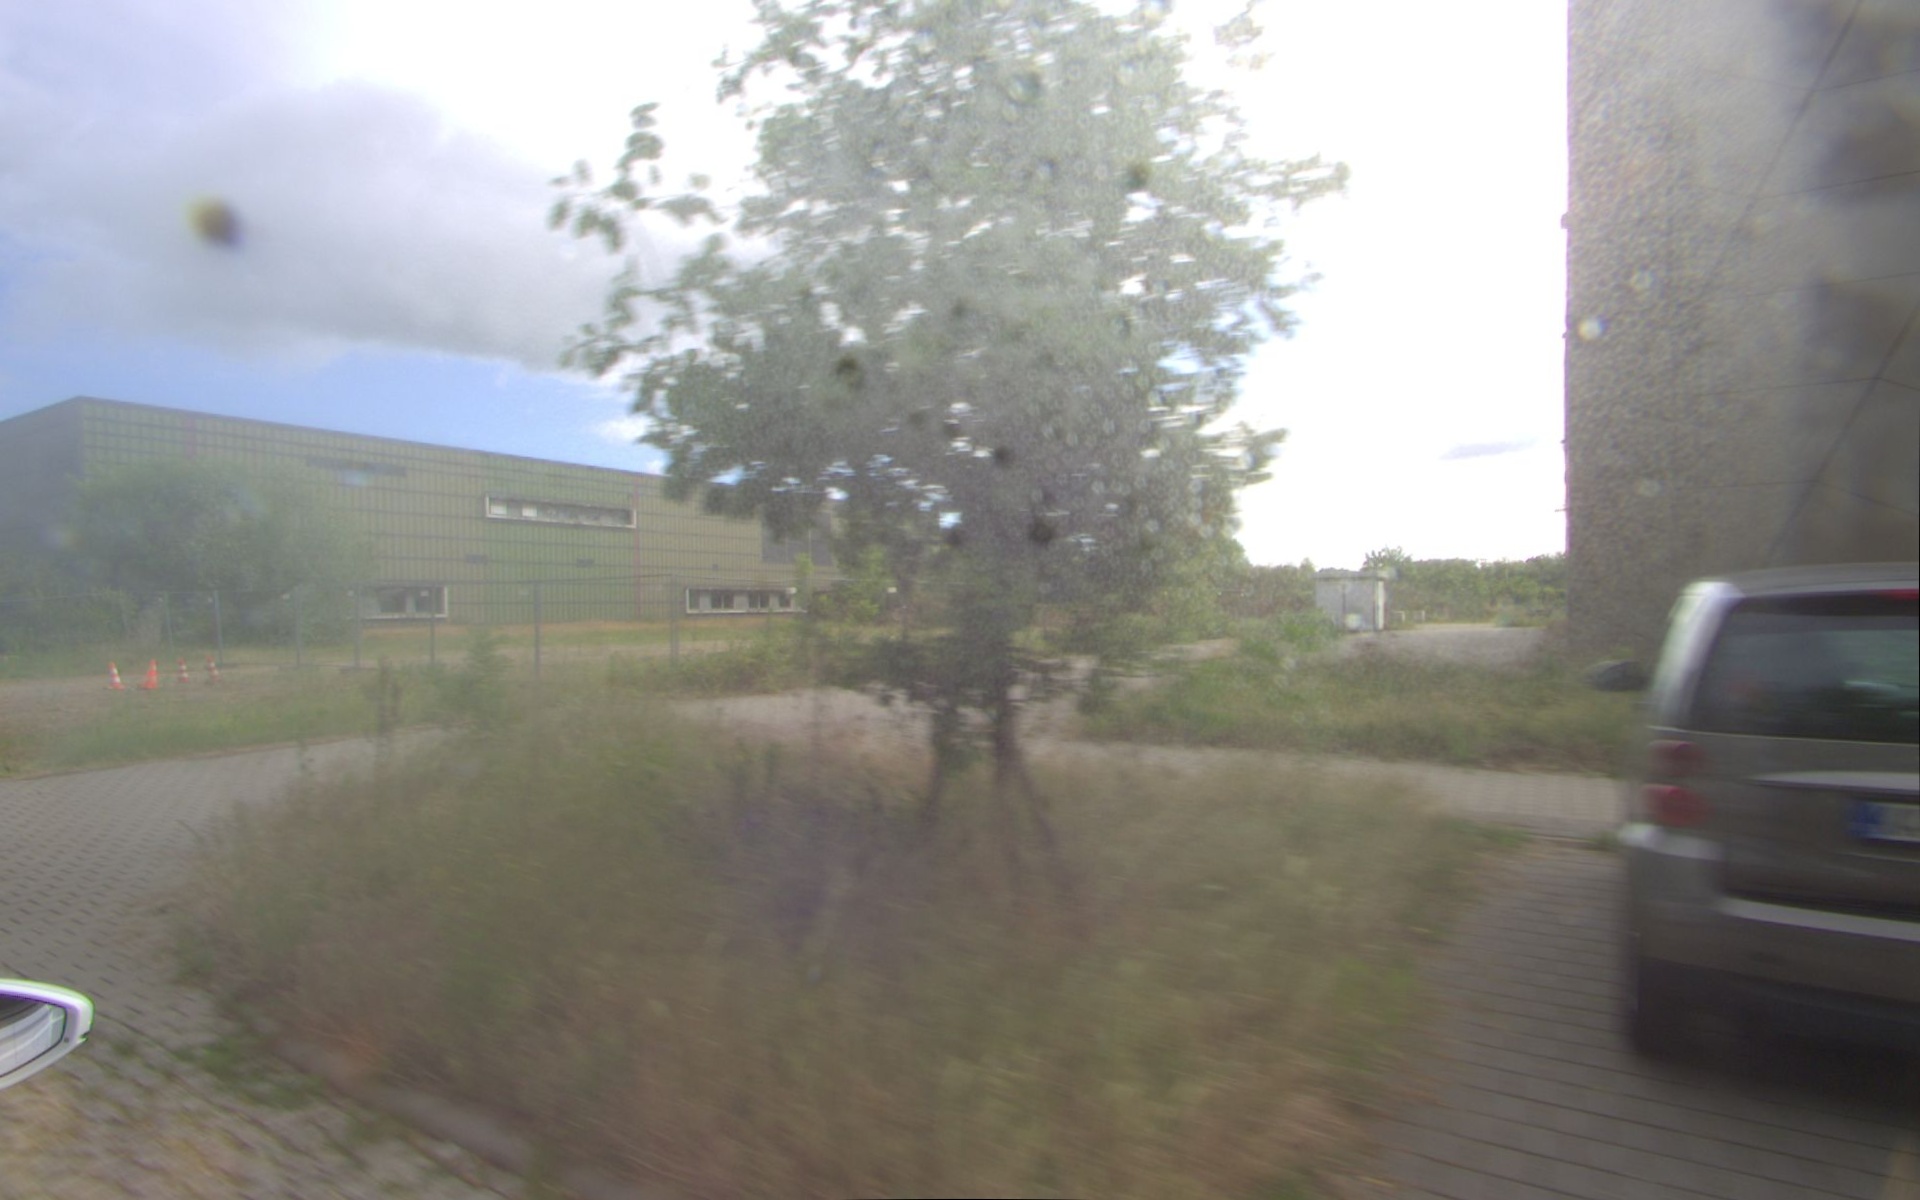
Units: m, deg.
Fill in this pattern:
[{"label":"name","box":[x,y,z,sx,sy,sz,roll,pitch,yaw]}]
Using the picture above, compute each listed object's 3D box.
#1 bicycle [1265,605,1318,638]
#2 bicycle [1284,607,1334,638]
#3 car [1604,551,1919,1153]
[{"label":"bicycle","box":[11.208,0.727,33.920,1.638,1.100,0.508,0,0,41]},{"label":"bicycle","box":[12.463,0.798,35.803,1.638,1.100,0.508,0,0,41]},{"label":"car","box":[3.359,0.621,3.687,1.630,1.578,2.702,0,2,32]}]
